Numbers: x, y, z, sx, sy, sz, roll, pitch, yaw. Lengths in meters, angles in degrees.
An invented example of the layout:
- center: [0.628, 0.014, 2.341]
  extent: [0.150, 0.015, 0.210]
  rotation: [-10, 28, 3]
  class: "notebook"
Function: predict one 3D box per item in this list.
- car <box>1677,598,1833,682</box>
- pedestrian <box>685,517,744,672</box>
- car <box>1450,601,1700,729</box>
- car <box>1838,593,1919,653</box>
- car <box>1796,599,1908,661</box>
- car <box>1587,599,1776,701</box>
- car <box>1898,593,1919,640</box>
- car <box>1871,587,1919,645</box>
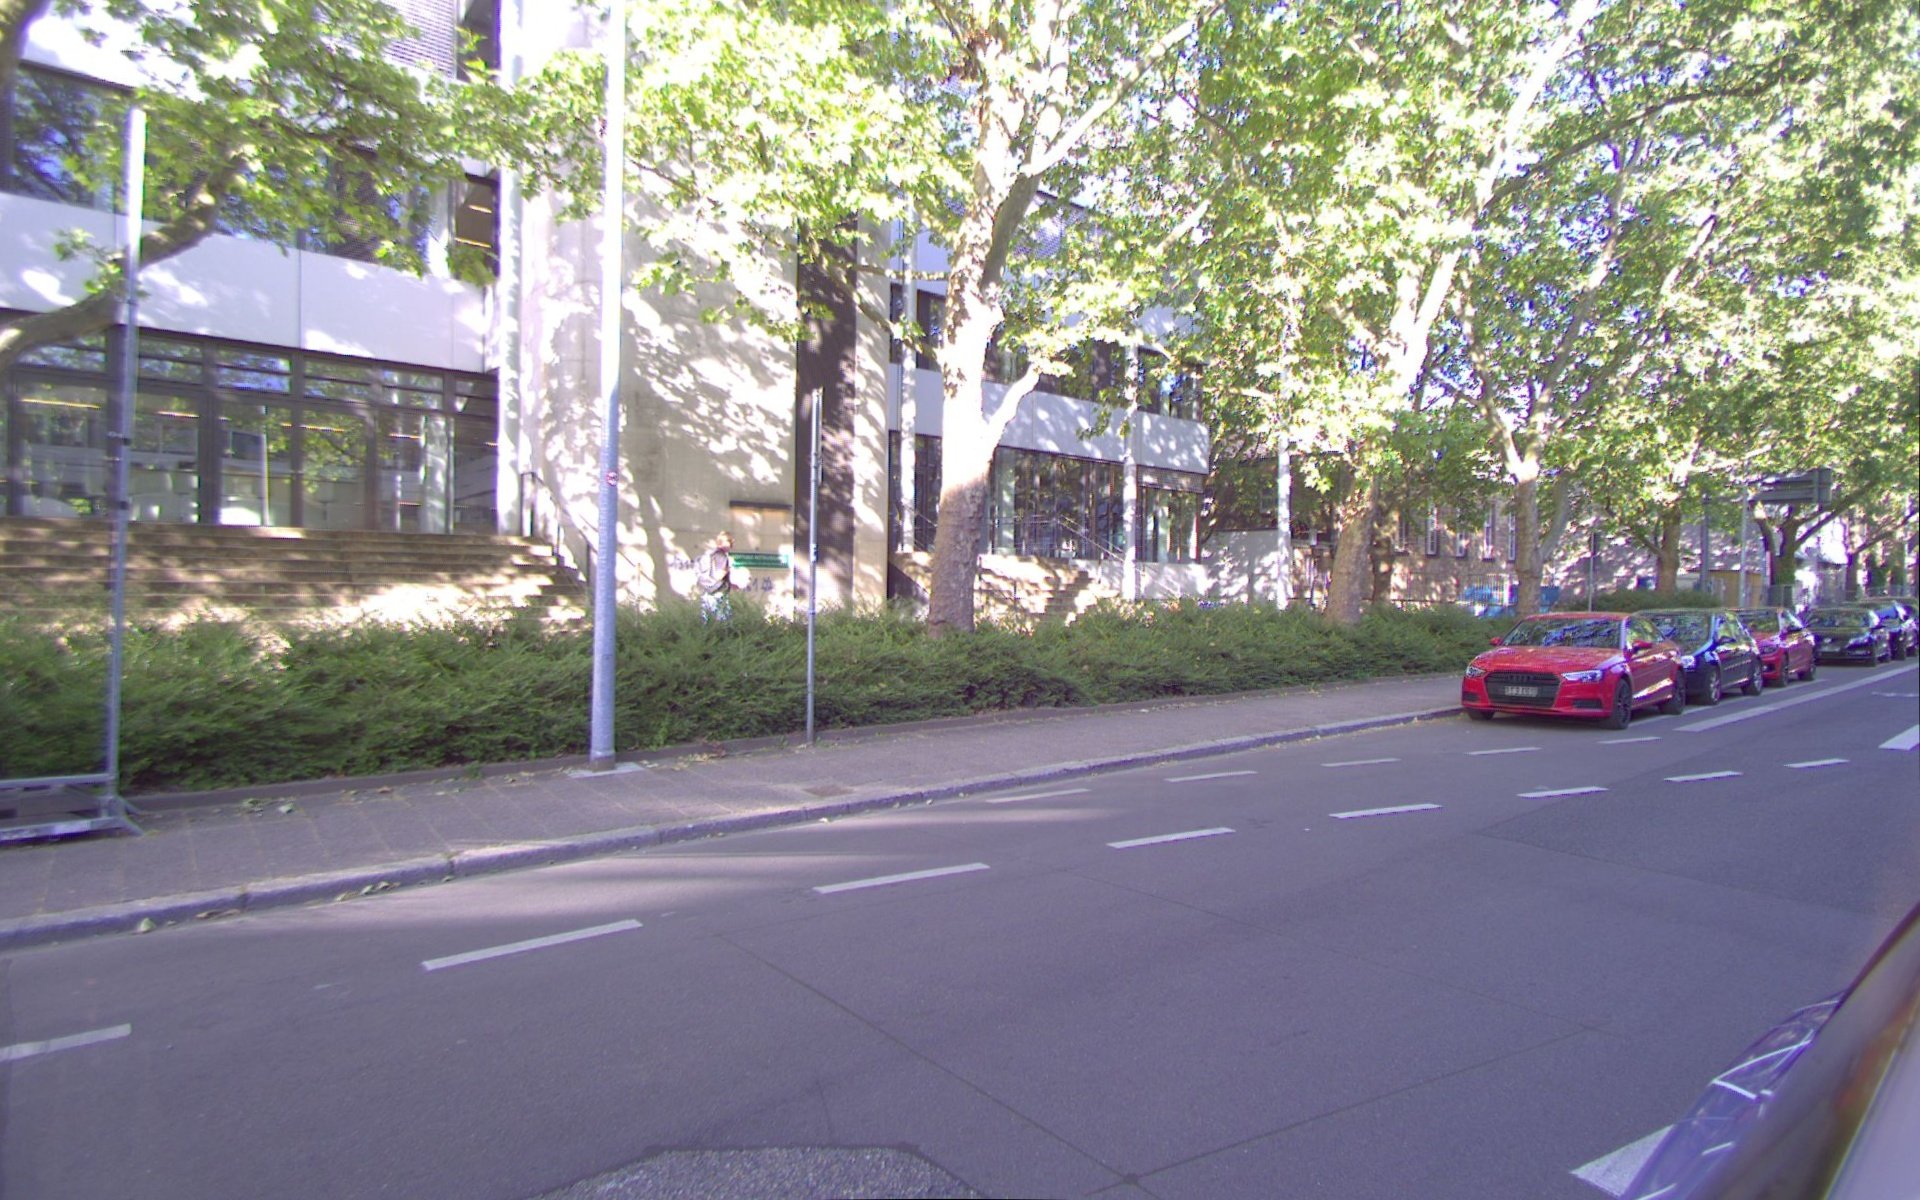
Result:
- center: [15.733, 0.708, 19.971]
  extent: [3.854, 1.467, 1.691]
  rotation: [-1, 0, -40]
  class: "car"
- center: [-3.316, -0.078, 13.674]
  extent: [0.549, 2.039, 0.555]
  rotation: [0, 0, 38]
  class: "pedestrian"
- center: [8.291, 0.736, 13.515]
  extent: [3.931, 1.409, 1.792]
  rotation: [-1, 1, -42]
  class: "car"
- center: [26.623, 0.604, 29.044]
  extent: [4.158, 1.598, 1.632]
  rotation: [-1, 0, -41]
  class: "car"
- center: [22.938, 0.711, 25.987]
  extent: [3.855, 1.441, 1.691]
  rotation: [-1, 0, -41]
  class: "car"
- center: [11.845, 0.730, 16.545]
  extent: [3.632, 1.436, 1.668]
  rotation: [-1, 0, -40]
  class: "car"
- center: [35.525, 0.572, 36.783]
  extent: [4.497, 1.633, 1.632]
  rotation: [-1, 0, -41]
  class: "car"
- center: [31.162, 0.473, 33.012]
  extent: [4.497, 1.814, 1.632]
  rotation: [-1, 0, -41]
  class: "car"
